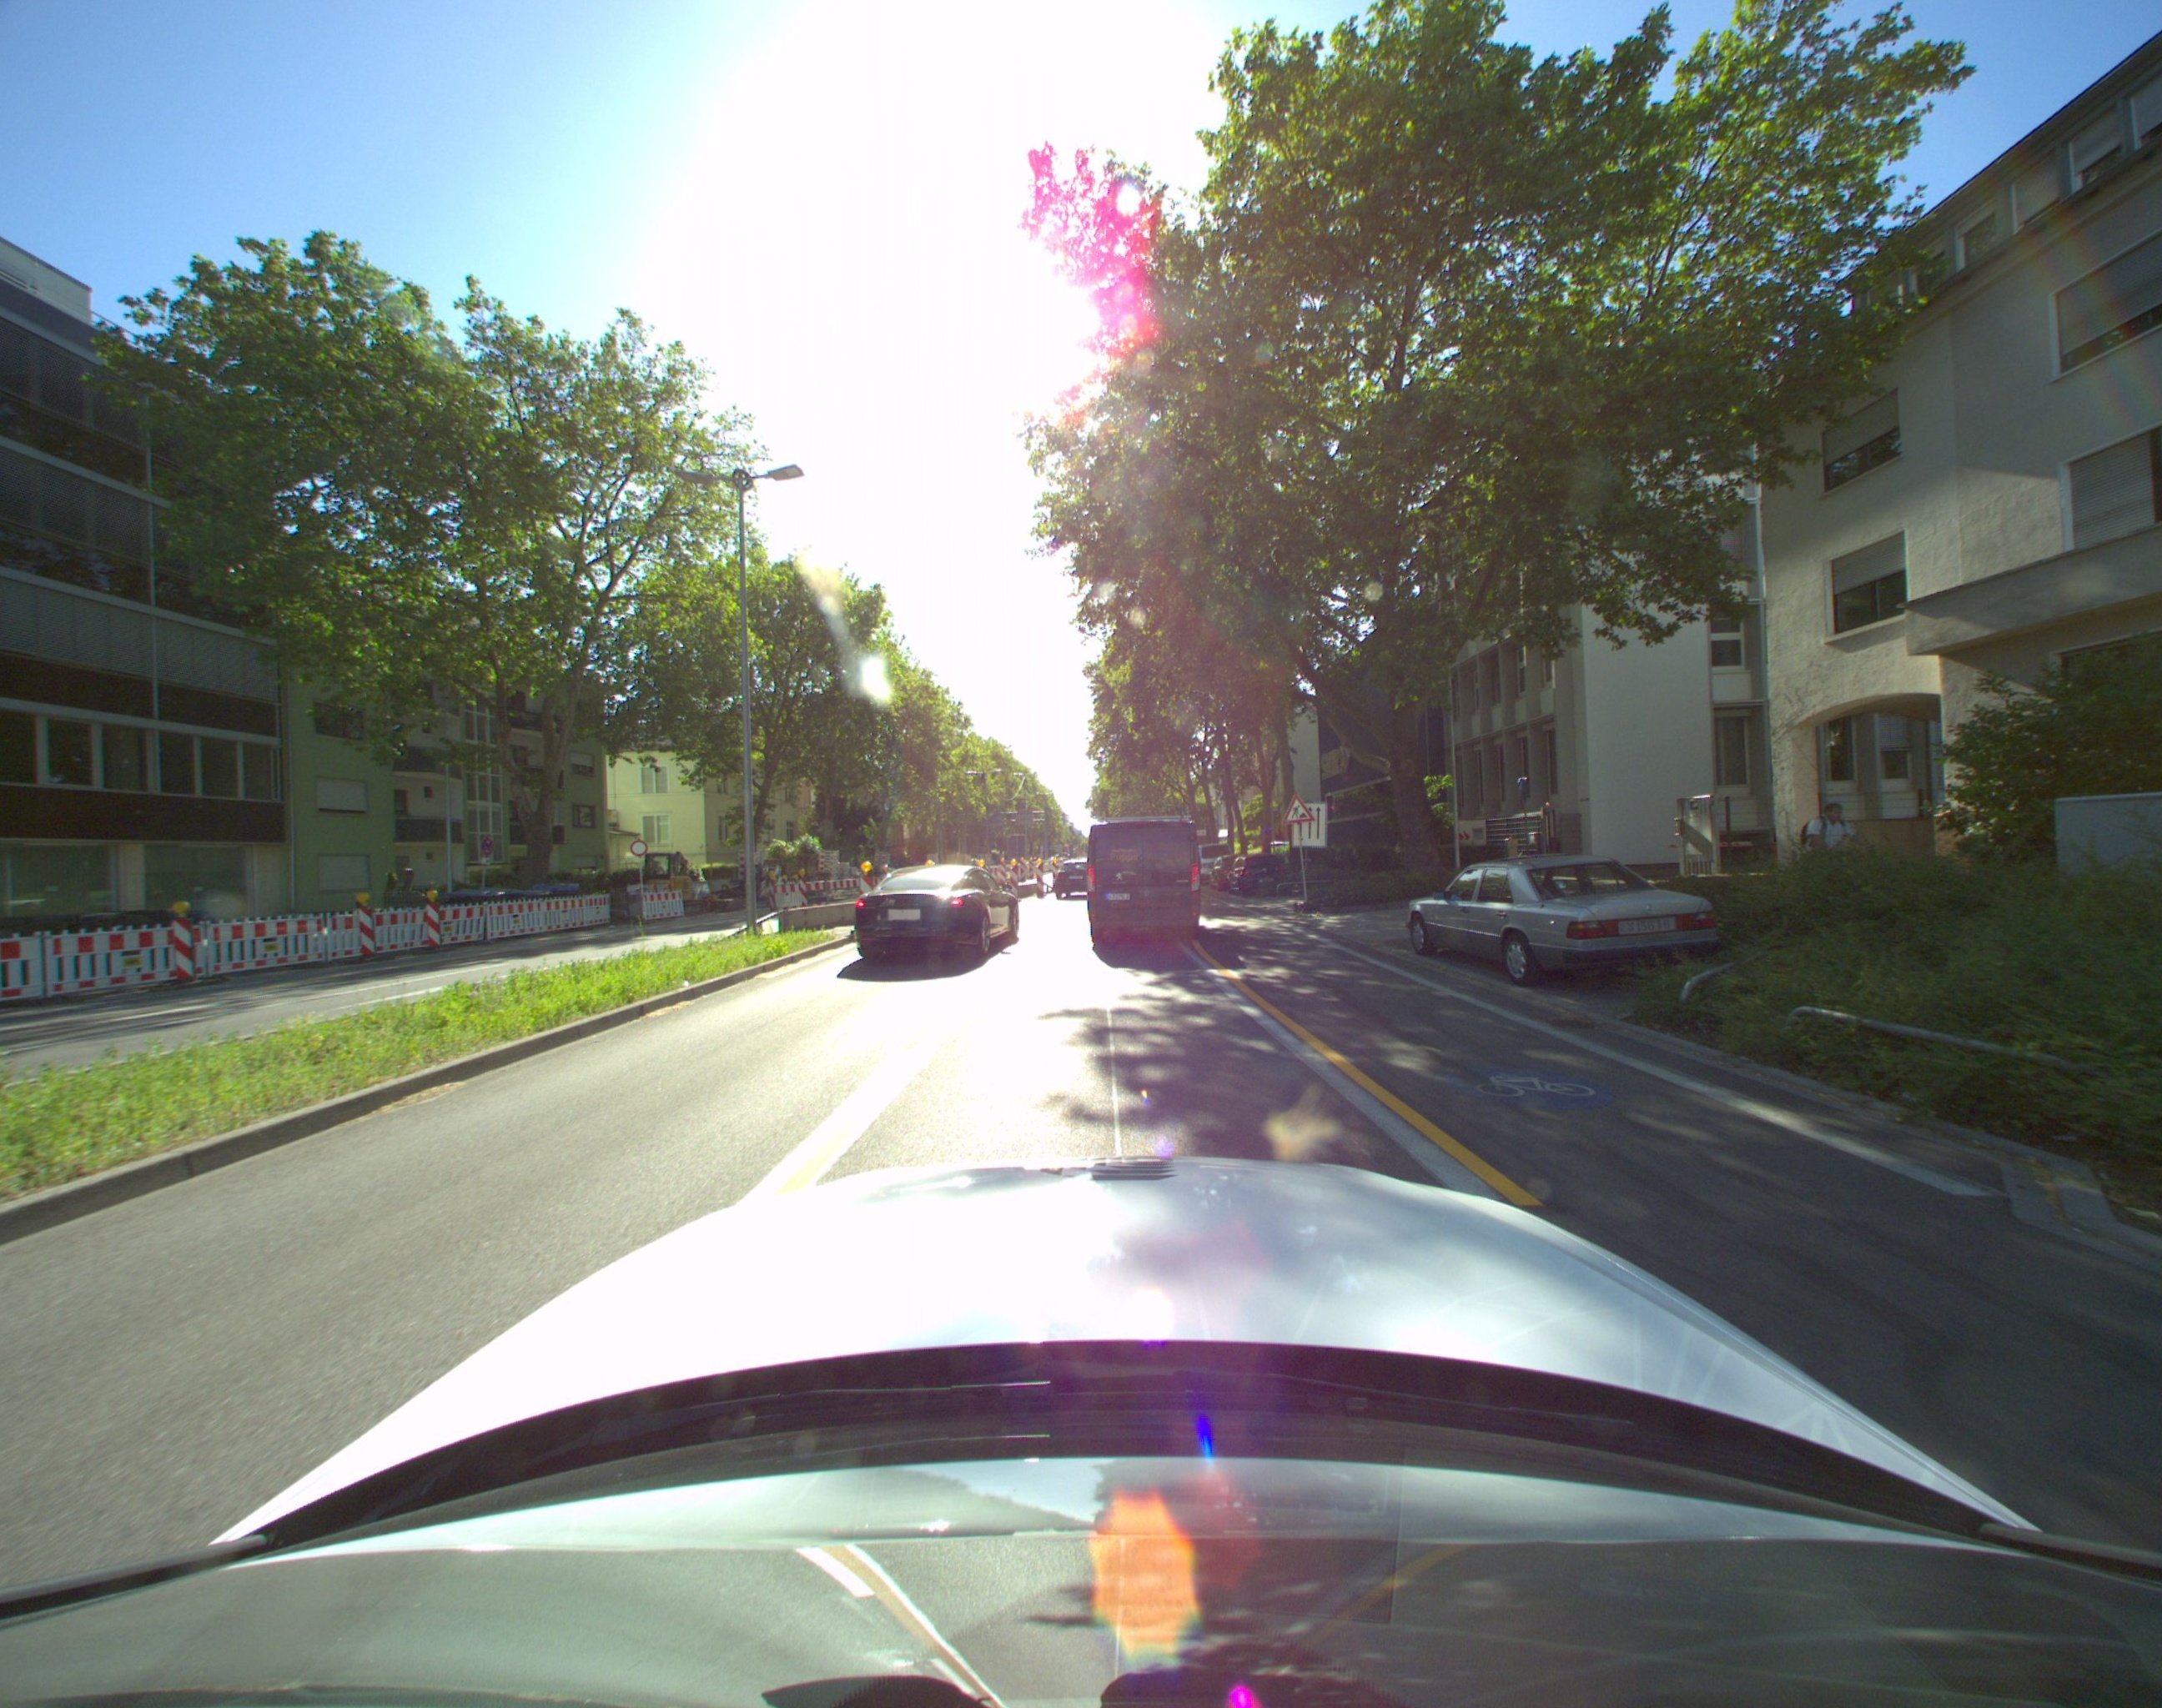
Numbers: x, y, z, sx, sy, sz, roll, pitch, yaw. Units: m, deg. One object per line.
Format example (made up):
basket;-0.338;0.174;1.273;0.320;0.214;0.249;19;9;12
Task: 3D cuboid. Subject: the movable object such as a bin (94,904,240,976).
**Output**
movable object such as a bin;-17.439;1.623;15.587;1.388;1.203;1.243;-2;0;4

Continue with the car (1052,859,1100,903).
car;-0.184;0.996;31.665;1.741;1.407;4.000;-1;2;0

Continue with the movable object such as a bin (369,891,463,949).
movable object such as a bin;-16.997;1.675;20.853;1.404;1.338;1.158;-2;0;3

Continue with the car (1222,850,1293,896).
car;6.380;0.667;29.906;1.757;1.508;4.252;-2;0;1

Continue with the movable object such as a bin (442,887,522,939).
movable object such as a bin;-16.870;1.650;22.973;1.404;1.338;1.069;-2;0;3

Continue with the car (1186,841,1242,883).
car;6.683;0.389;41.587;2.019;1.946;5.274;-2;0;1

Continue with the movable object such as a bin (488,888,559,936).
movable object such as a bin;-16.583;1.706;24.272;0.976;1.271;1.541;-2;0;1

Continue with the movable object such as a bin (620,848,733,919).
movable object such as a bin;-16.900;1.157;34.398;2.141;2.706;5.351;-2;0;-2

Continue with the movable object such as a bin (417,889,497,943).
movable object such as a bin;-16.781;1.660;21.937;1.404;1.338;0.936;-2;0;3

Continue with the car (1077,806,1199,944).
car;1.106;0.354;16.148;2.086;2.355;3.936;-1;0;3

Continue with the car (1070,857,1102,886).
car;0.206;0.916;43.058;1.543;1.425;3.552;-2;-1;-2

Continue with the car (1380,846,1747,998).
car;5.778;0.693;10.680;1.846;1.479;4.941;-2;0;0

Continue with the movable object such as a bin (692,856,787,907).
movable object such as a bin;-16.858;1.288;40.580;1.985;2.278;5.604;-3;-1;4

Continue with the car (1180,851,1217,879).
car;6.794;0.622;47.334;1.740;1.477;4.104;-3;0;3

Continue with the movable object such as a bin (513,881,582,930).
movable object such as a bin;-17.057;1.614;26.100;1.638;1.423;1.253;-2;0;-25

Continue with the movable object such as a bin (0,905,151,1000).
movable object such as a bin;-17.519;1.641;13.849;1.209;1.388;1.857;-2;0;3

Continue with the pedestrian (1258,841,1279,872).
pedestrian;9.902;0.131;43.002;0.726;1.602;1.265;-2;0;-4

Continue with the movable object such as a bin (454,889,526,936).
movable object such as a bin;-17.596;1.718;24.286;0.976;1.271;1.541;-2;0;1

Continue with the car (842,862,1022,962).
car;-2.328;0.868;14.060;1.916;1.412;4.631;-1;-1;4

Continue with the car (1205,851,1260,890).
car;6.410;0.667;34.897;1.651;1.540;4.129;-1;0;1

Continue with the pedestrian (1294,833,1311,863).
pedestrian;12.223;-0.341;44.881;0.704;1.648;0.675;0;2;-2

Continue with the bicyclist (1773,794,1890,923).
bicyclist;11.176;0.067;12.174;0.721;1.820;1.071;-2;0;2
